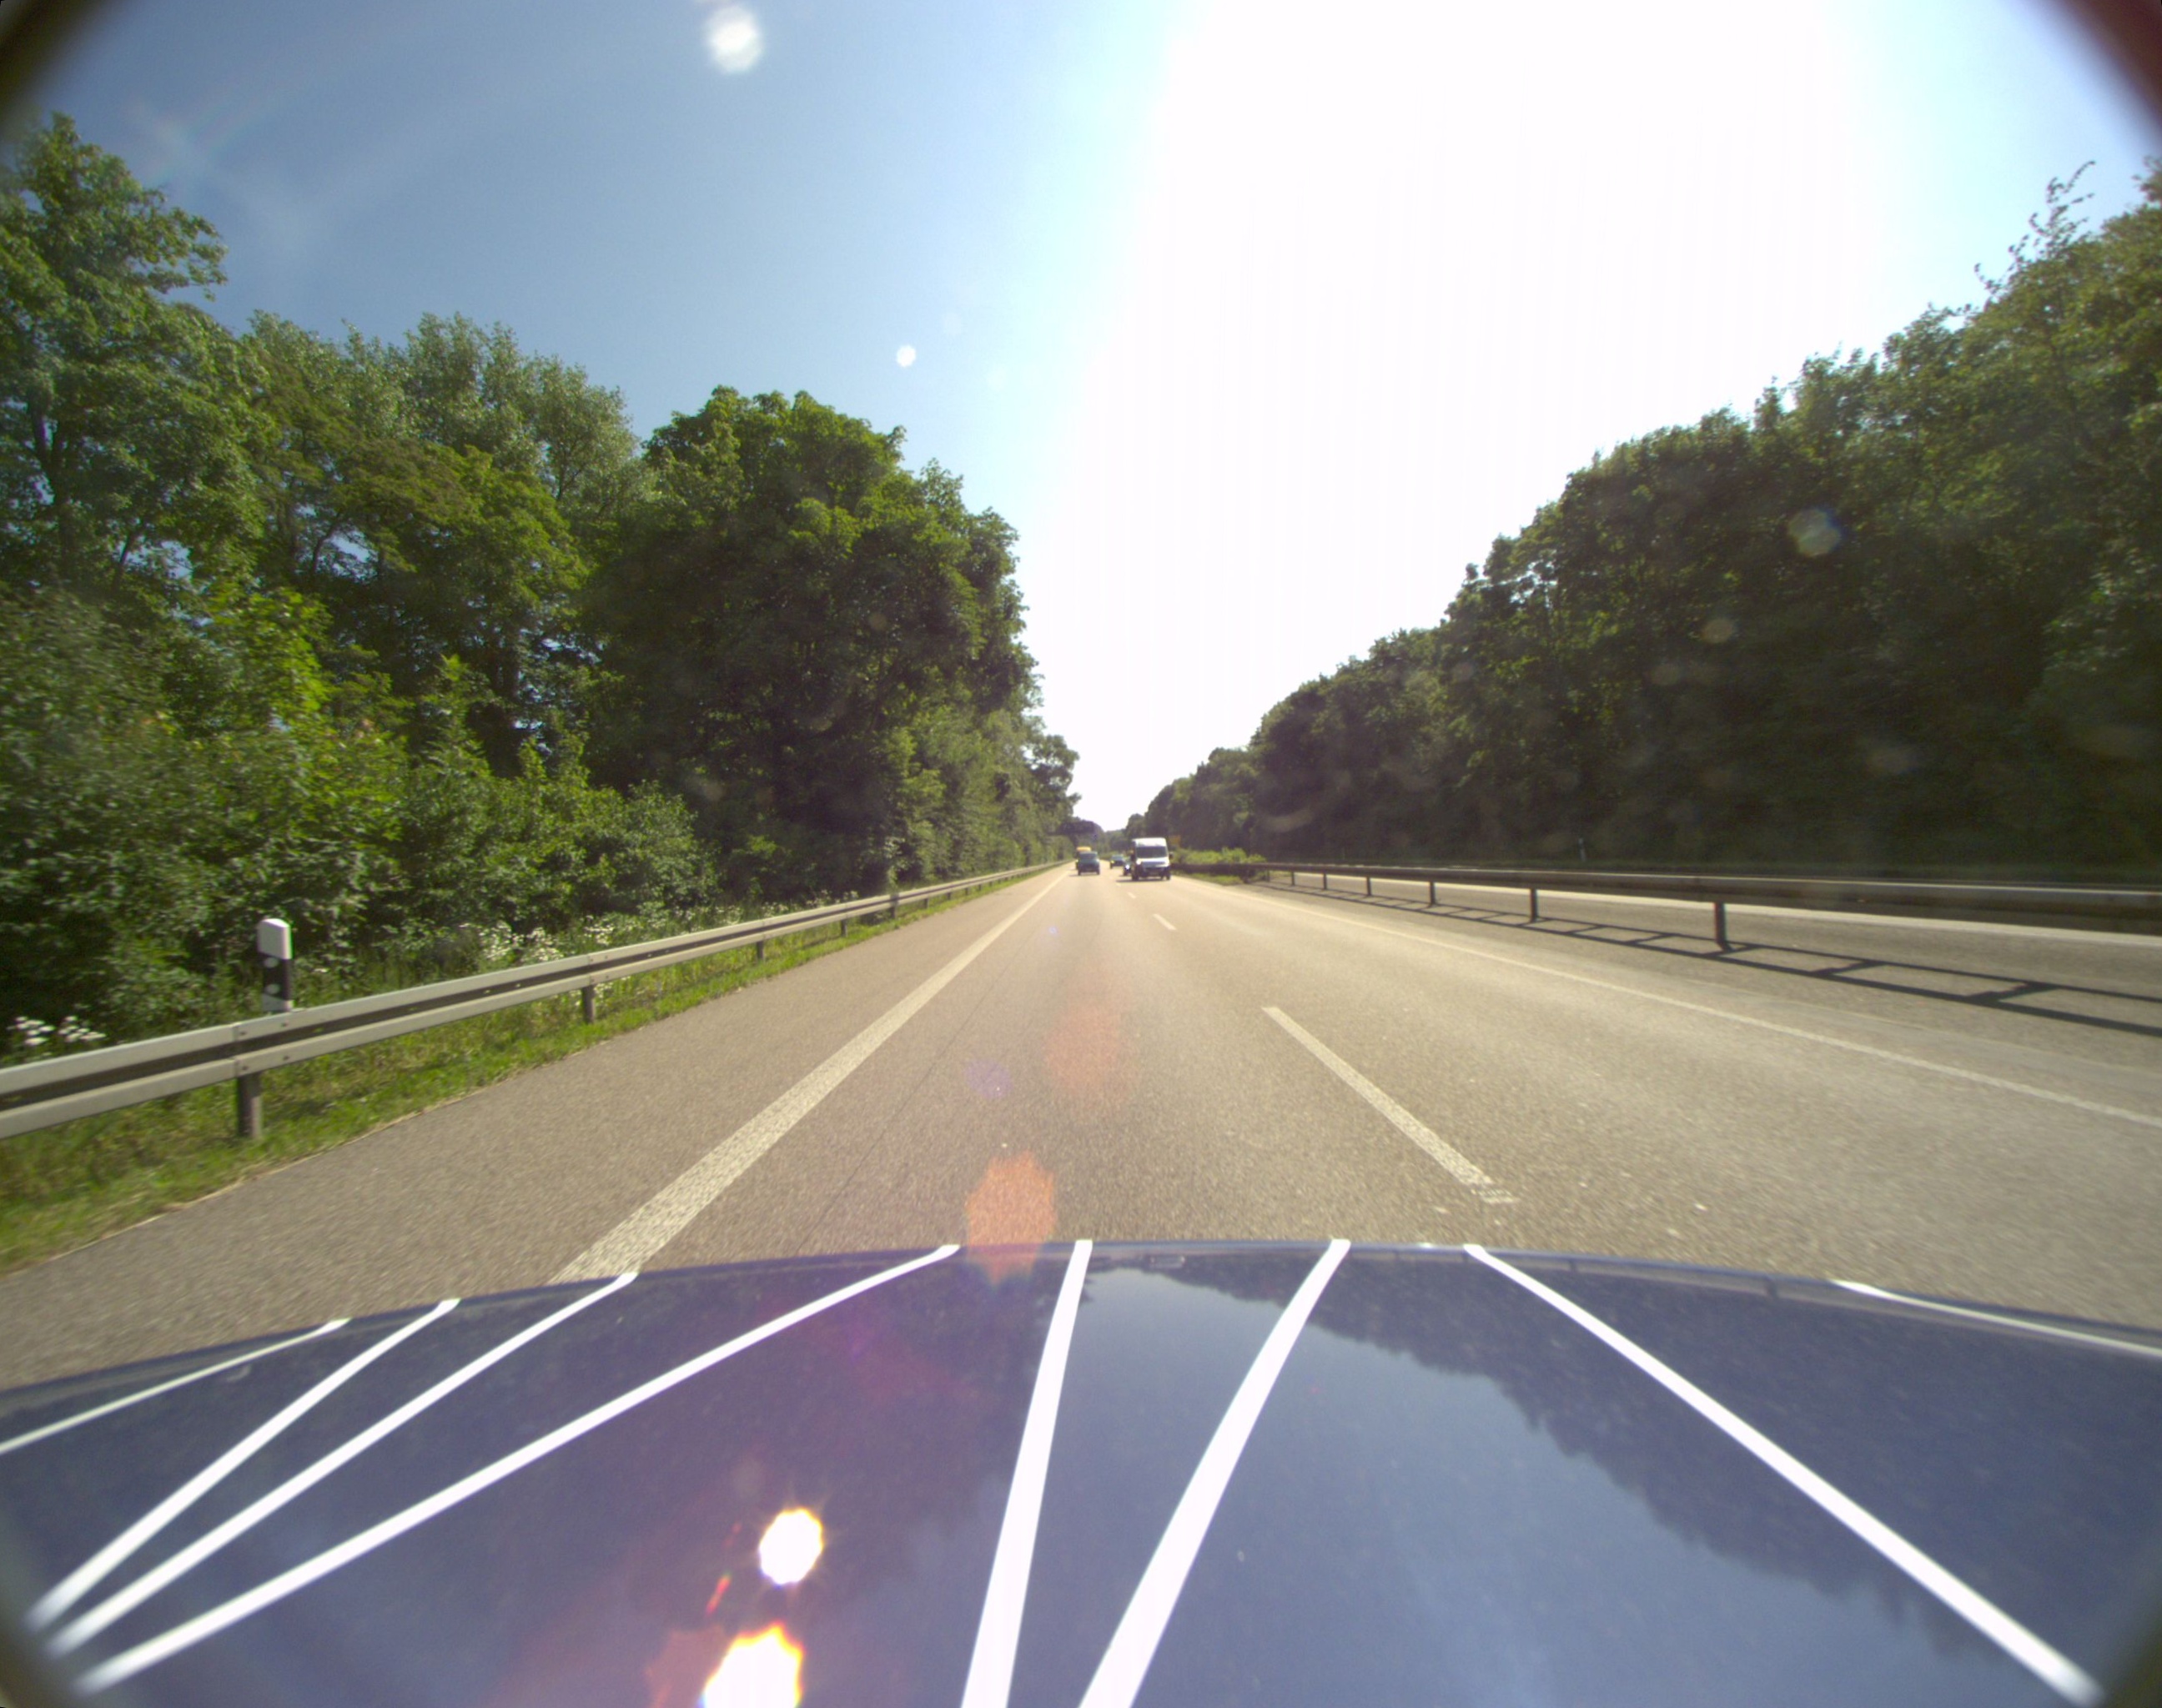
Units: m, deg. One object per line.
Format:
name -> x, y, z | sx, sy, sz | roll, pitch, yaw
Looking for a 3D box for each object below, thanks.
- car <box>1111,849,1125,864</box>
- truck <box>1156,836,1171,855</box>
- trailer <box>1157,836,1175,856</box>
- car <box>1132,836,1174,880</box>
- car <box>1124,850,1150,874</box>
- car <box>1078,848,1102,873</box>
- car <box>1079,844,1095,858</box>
car -> 4.335, 0.261, 88.872 | 1.517, 1.624, 3.611 | -2, 0, 1
truck -> 16.678, -1.615, 153.574 | 2.652, 3.684, 4.000 | -2, 1, 1
trailer -> 16.630, -1.560, 149.064 | 2.695, 3.690, 7.984 | -2, 0, 1
car -> 4.229, 0.208, 45.264 | 2.046, 2.429, 4.637 | -2, 0, 0
car -> 4.187, 0.569, 57.195 | 1.666, 1.624, 3.644 | -2, 0, 1
car -> 0.724, 0.506, 63.410 | 1.812, 1.921, 4.581 | -2, 0, 0
car -> 0.719, -0.340, 90.637 | 1.737, 1.624, 3.899 | -2, 0, 1
